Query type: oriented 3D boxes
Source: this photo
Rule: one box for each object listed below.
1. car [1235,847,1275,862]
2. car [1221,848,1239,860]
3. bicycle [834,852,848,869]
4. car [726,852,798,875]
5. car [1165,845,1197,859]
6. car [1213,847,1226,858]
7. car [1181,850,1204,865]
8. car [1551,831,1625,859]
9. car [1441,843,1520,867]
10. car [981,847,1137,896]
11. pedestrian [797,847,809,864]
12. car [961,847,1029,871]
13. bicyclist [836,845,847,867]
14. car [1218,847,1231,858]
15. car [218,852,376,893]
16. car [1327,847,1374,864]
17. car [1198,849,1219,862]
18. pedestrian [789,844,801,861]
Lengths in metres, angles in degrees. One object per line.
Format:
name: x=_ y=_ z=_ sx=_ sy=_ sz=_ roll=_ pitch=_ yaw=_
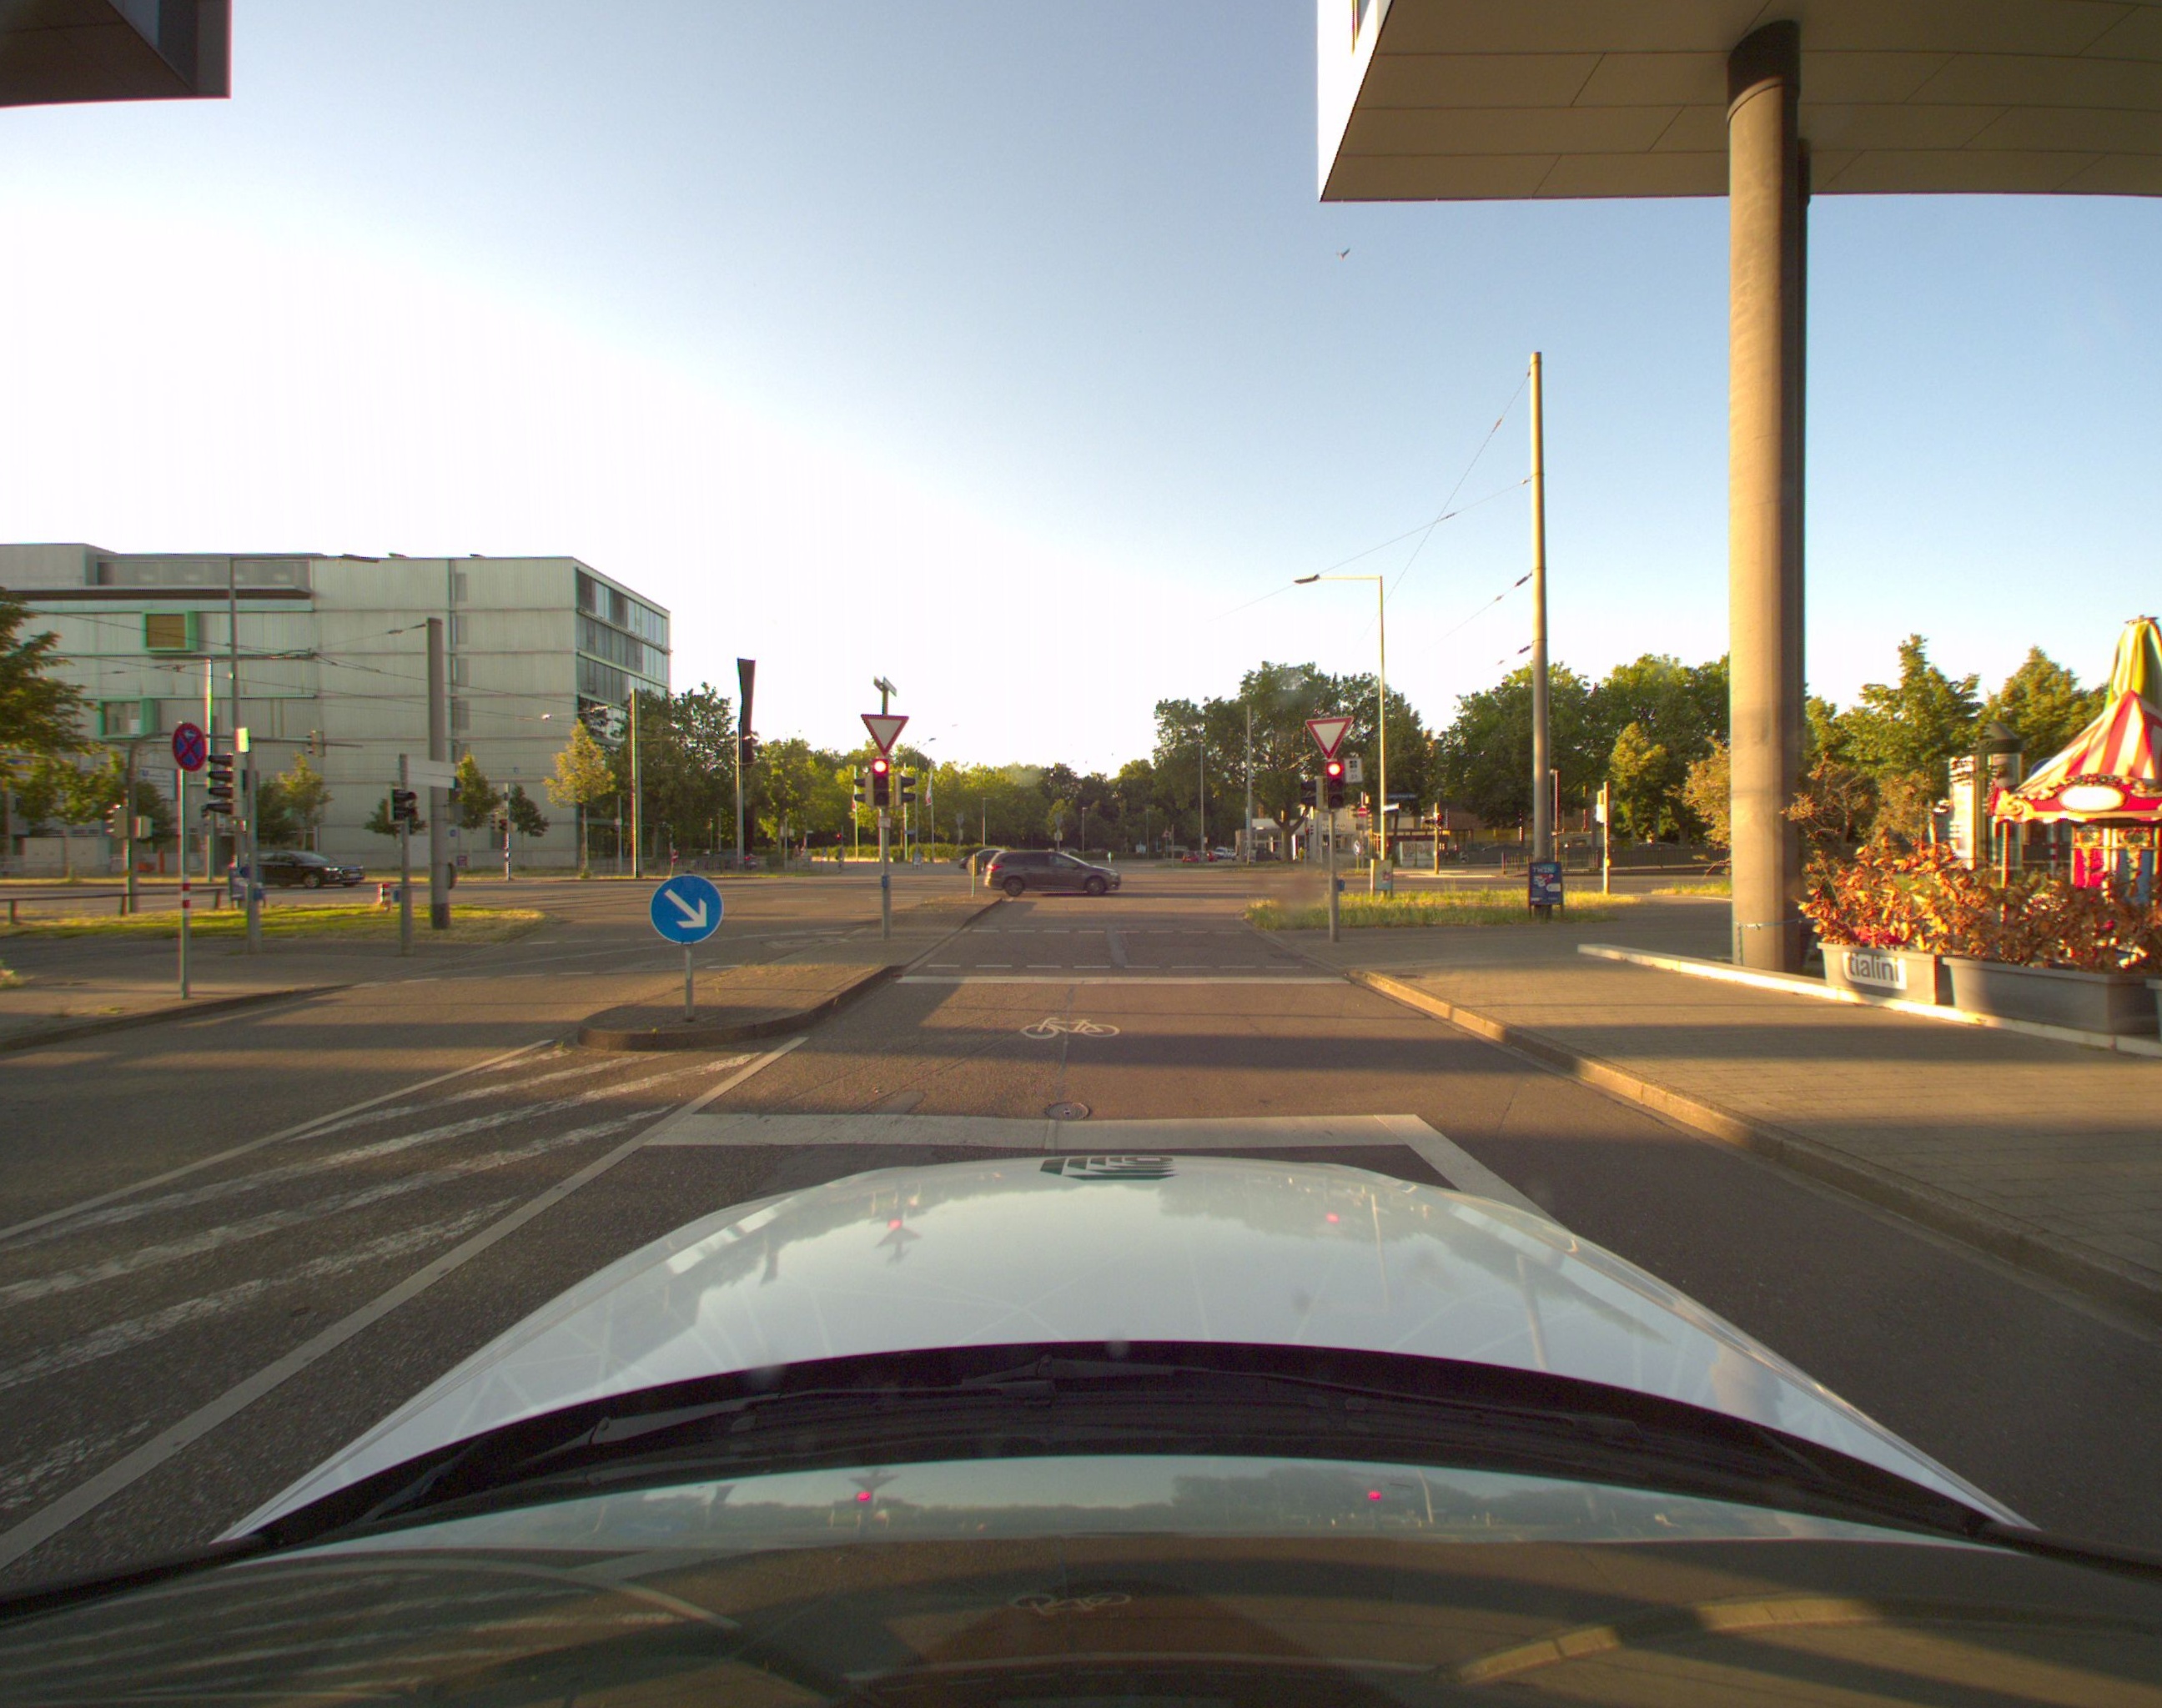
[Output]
car: x=18.923 y=0.022 z=88.899 sx=4.194 sy=1.552 sz=2.005 roll=-1 pitch=-1 yaw=9
car: x=21.088 y=0.011 z=115.298 sx=1.978 sy=1.662 sz=4.018 roll=-1 pitch=-1 yaw=17
bicycle: x=-19.377 y=0.481 z=65.769 sx=0.730 sy=1.341 sz=2.681 roll=-1 pitch=0 yaw=-10
car: x=-22.310 y=0.658 z=57.113 sx=4.313 sy=1.496 sz=1.806 roll=-1 pitch=-1 yaw=3
car: x=15.416 y=-0.319 z=125.728 sx=4.753 sy=2.006 sz=2.002 roll=-1 pitch=-1 yaw=3
car: x=22.270 y=-0.237 z=130.878 sx=1.850 sy=1.794 sz=4.013 roll=-1 pitch=-1 yaw=12
car: x=13.105 y=0.387 z=95.557 sx=1.978 sy=1.662 sz=4.018 roll=-1 pitch=-1 yaw=17
car: x=47.889 y=-0.818 z=77.053 sx=5.561 sy=2.551 sz=2.235 roll=-1 pitch=0 yaw=9
car: x=27.494 y=0.074 z=56.089 sx=4.454 sy=1.552 sz=2.001 roll=-1 pitch=-1 yaw=3
car: x=-0.724 y=0.560 z=27.082 sx=4.995 sy=1.511 sz=1.986 roll=-1 pitch=0 yaw=-2
pedestrian: x=-29.351 y=0.130 z=85.840 sx=0.852 sy=1.744 sz=0.835 roll=-1 pitch=0 yaw=33
car: x=-5.726 y=0.357 z=54.578 sx=4.313 sy=1.496 sz=1.806 roll=-1 pitch=-1 yaw=3
bicyclist: x=-19.331 y=0.152 z=65.697 sx=0.751 sy=1.709 sz=0.916 roll=-1 pitch=0 yaw=-12
car: x=23.934 y=-0.243 z=135.736 sx=1.849 sy=1.794 sz=4.015 roll=-1 pitch=-1 yaw=14
car: x=-32.508 y=0.743 z=33.894 sx=4.467 sy=1.557 sz=1.986 roll=-1 pitch=0 yaw=-4
car: x=23.721 y=0.176 z=71.836 sx=3.715 sy=1.440 sz=1.669 roll=-1 pitch=-1 yaw=11
car: x=16.208 y=0.226 z=103.178 sx=1.978 sy=1.662 sz=4.018 roll=-1 pitch=-1 yaw=17
pedestrian: x=-29.847 y=-0.175 z=85.053 sx=0.852 sy=1.744 sz=0.835 roll=-1 pitch=0 yaw=32
